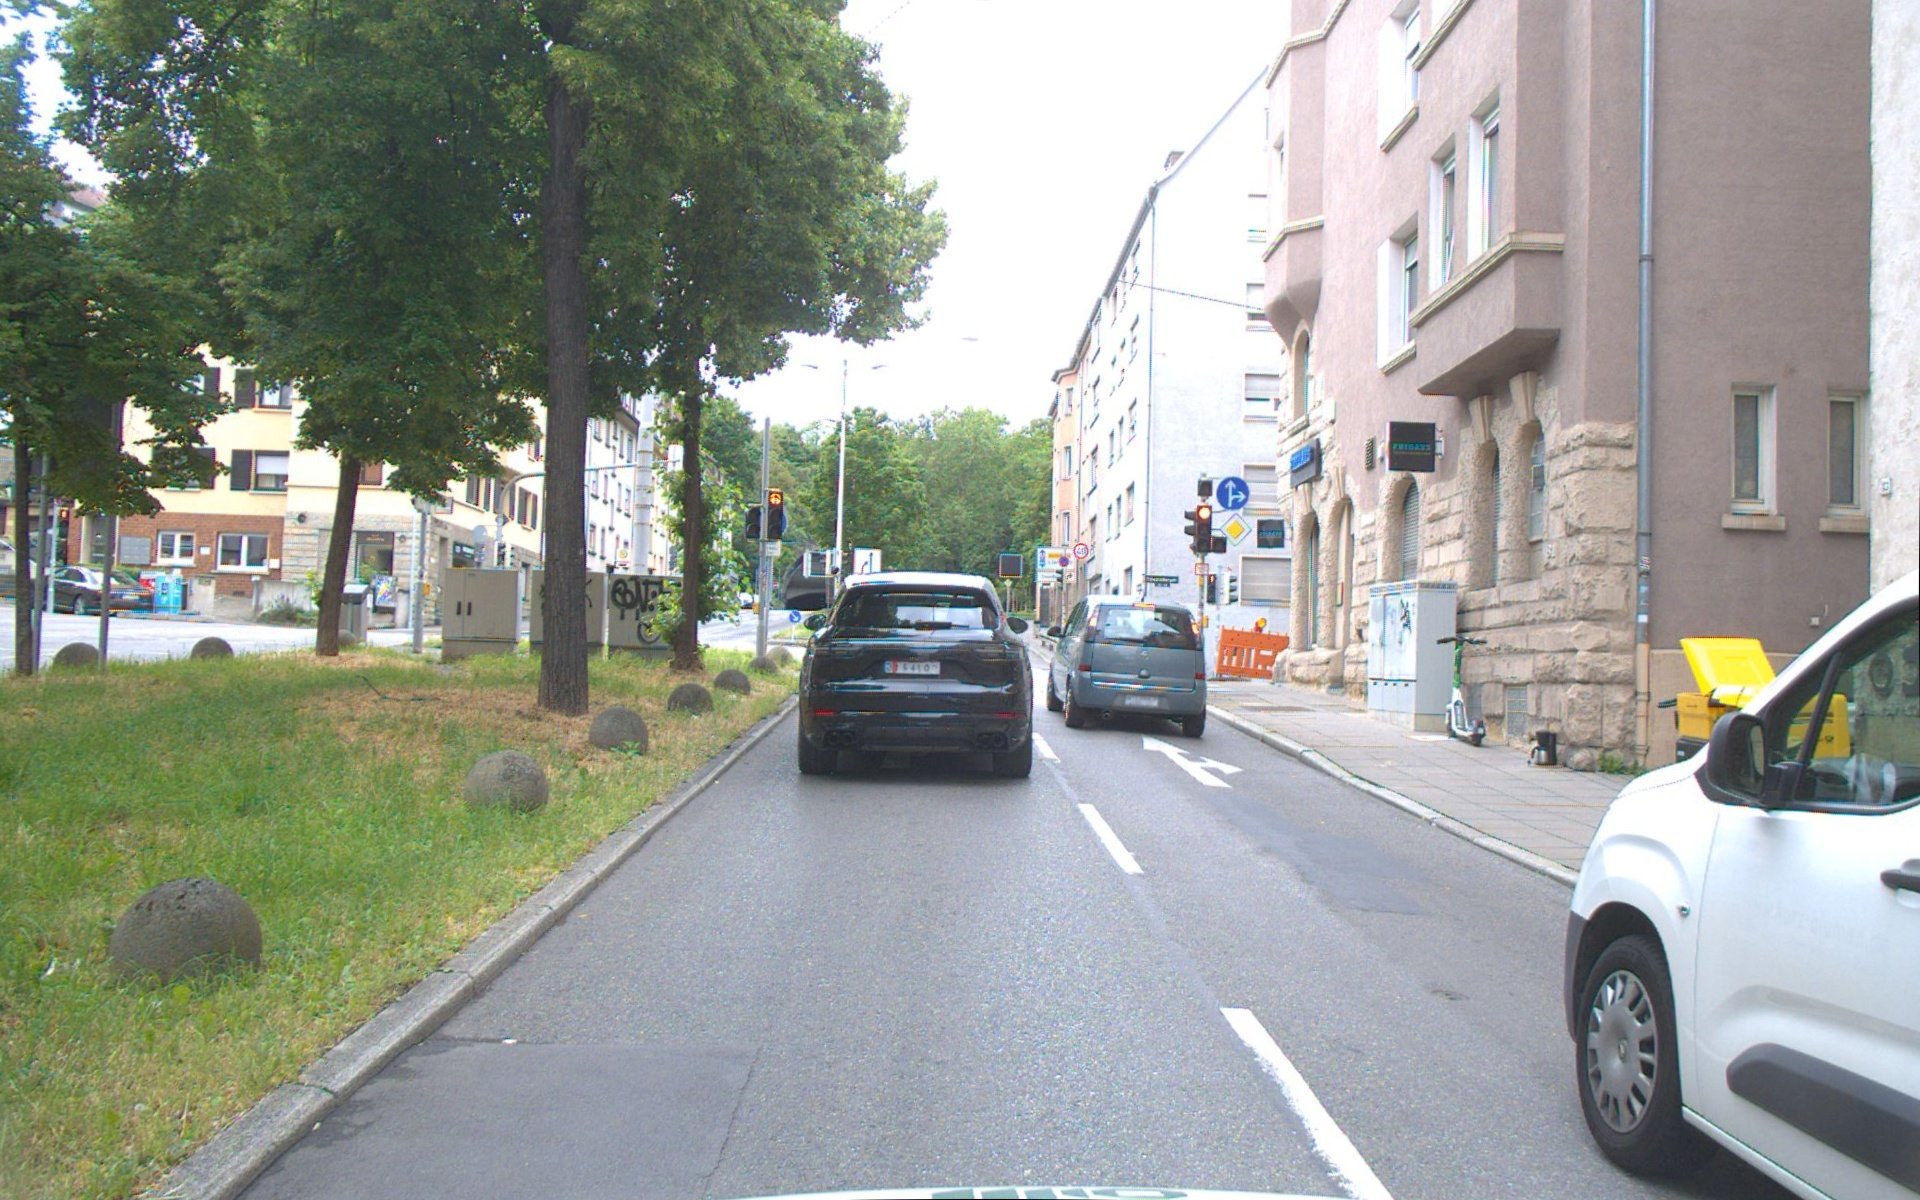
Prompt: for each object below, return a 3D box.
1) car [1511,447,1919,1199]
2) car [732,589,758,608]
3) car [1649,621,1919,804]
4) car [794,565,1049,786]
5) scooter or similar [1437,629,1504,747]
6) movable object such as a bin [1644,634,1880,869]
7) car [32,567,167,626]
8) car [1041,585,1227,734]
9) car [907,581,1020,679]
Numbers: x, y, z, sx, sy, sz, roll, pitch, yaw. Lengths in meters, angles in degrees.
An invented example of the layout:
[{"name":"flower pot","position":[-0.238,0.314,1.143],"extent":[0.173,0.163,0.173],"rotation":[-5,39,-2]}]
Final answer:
[{"name":"car","position":[2.819,0.666,3.487],"extent":[1.811,1.857,5.022],"rotation":[3,-1,3]},{"name":"car","position":[-17.926,-0.148,137.780],"extent":[1.758,1.536,3.998],"rotation":[2,0,-2]},{"name":"car","position":[8.655,1.018,15.142],"extent":[3.906,1.427,1.800],"rotation":[2,2,-1]},{"name":"car","position":[-0.302,0.564,14.774],"extent":[1.953,1.681,4.000],"rotation":[1,1,0]},{"name":"scooter or similar","position":[5.705,0.960,18.532],"extent":[0.392,1.209,1.355],"rotation":[0,1,3]},{"name":"movable object such as a bin","position":[5.344,0.958,11.135],"extent":[0.705,1.446,1.692],"rotation":[1,-1,-3]},{"name":"car","position":[-26.125,-0.098,50.204],"extent":[3.915,1.694,1.877],"rotation":[0,-2,33]},{"name":"car","position":[2.108,0.686,20.946],"extent":[1.717,1.621,3.628],"rotation":[4,0,-3]},{"name":"car","position":[0.060,0.535,30.928],"extent":[1.953,1.682,3.999],"rotation":[1,-1,0]}]
